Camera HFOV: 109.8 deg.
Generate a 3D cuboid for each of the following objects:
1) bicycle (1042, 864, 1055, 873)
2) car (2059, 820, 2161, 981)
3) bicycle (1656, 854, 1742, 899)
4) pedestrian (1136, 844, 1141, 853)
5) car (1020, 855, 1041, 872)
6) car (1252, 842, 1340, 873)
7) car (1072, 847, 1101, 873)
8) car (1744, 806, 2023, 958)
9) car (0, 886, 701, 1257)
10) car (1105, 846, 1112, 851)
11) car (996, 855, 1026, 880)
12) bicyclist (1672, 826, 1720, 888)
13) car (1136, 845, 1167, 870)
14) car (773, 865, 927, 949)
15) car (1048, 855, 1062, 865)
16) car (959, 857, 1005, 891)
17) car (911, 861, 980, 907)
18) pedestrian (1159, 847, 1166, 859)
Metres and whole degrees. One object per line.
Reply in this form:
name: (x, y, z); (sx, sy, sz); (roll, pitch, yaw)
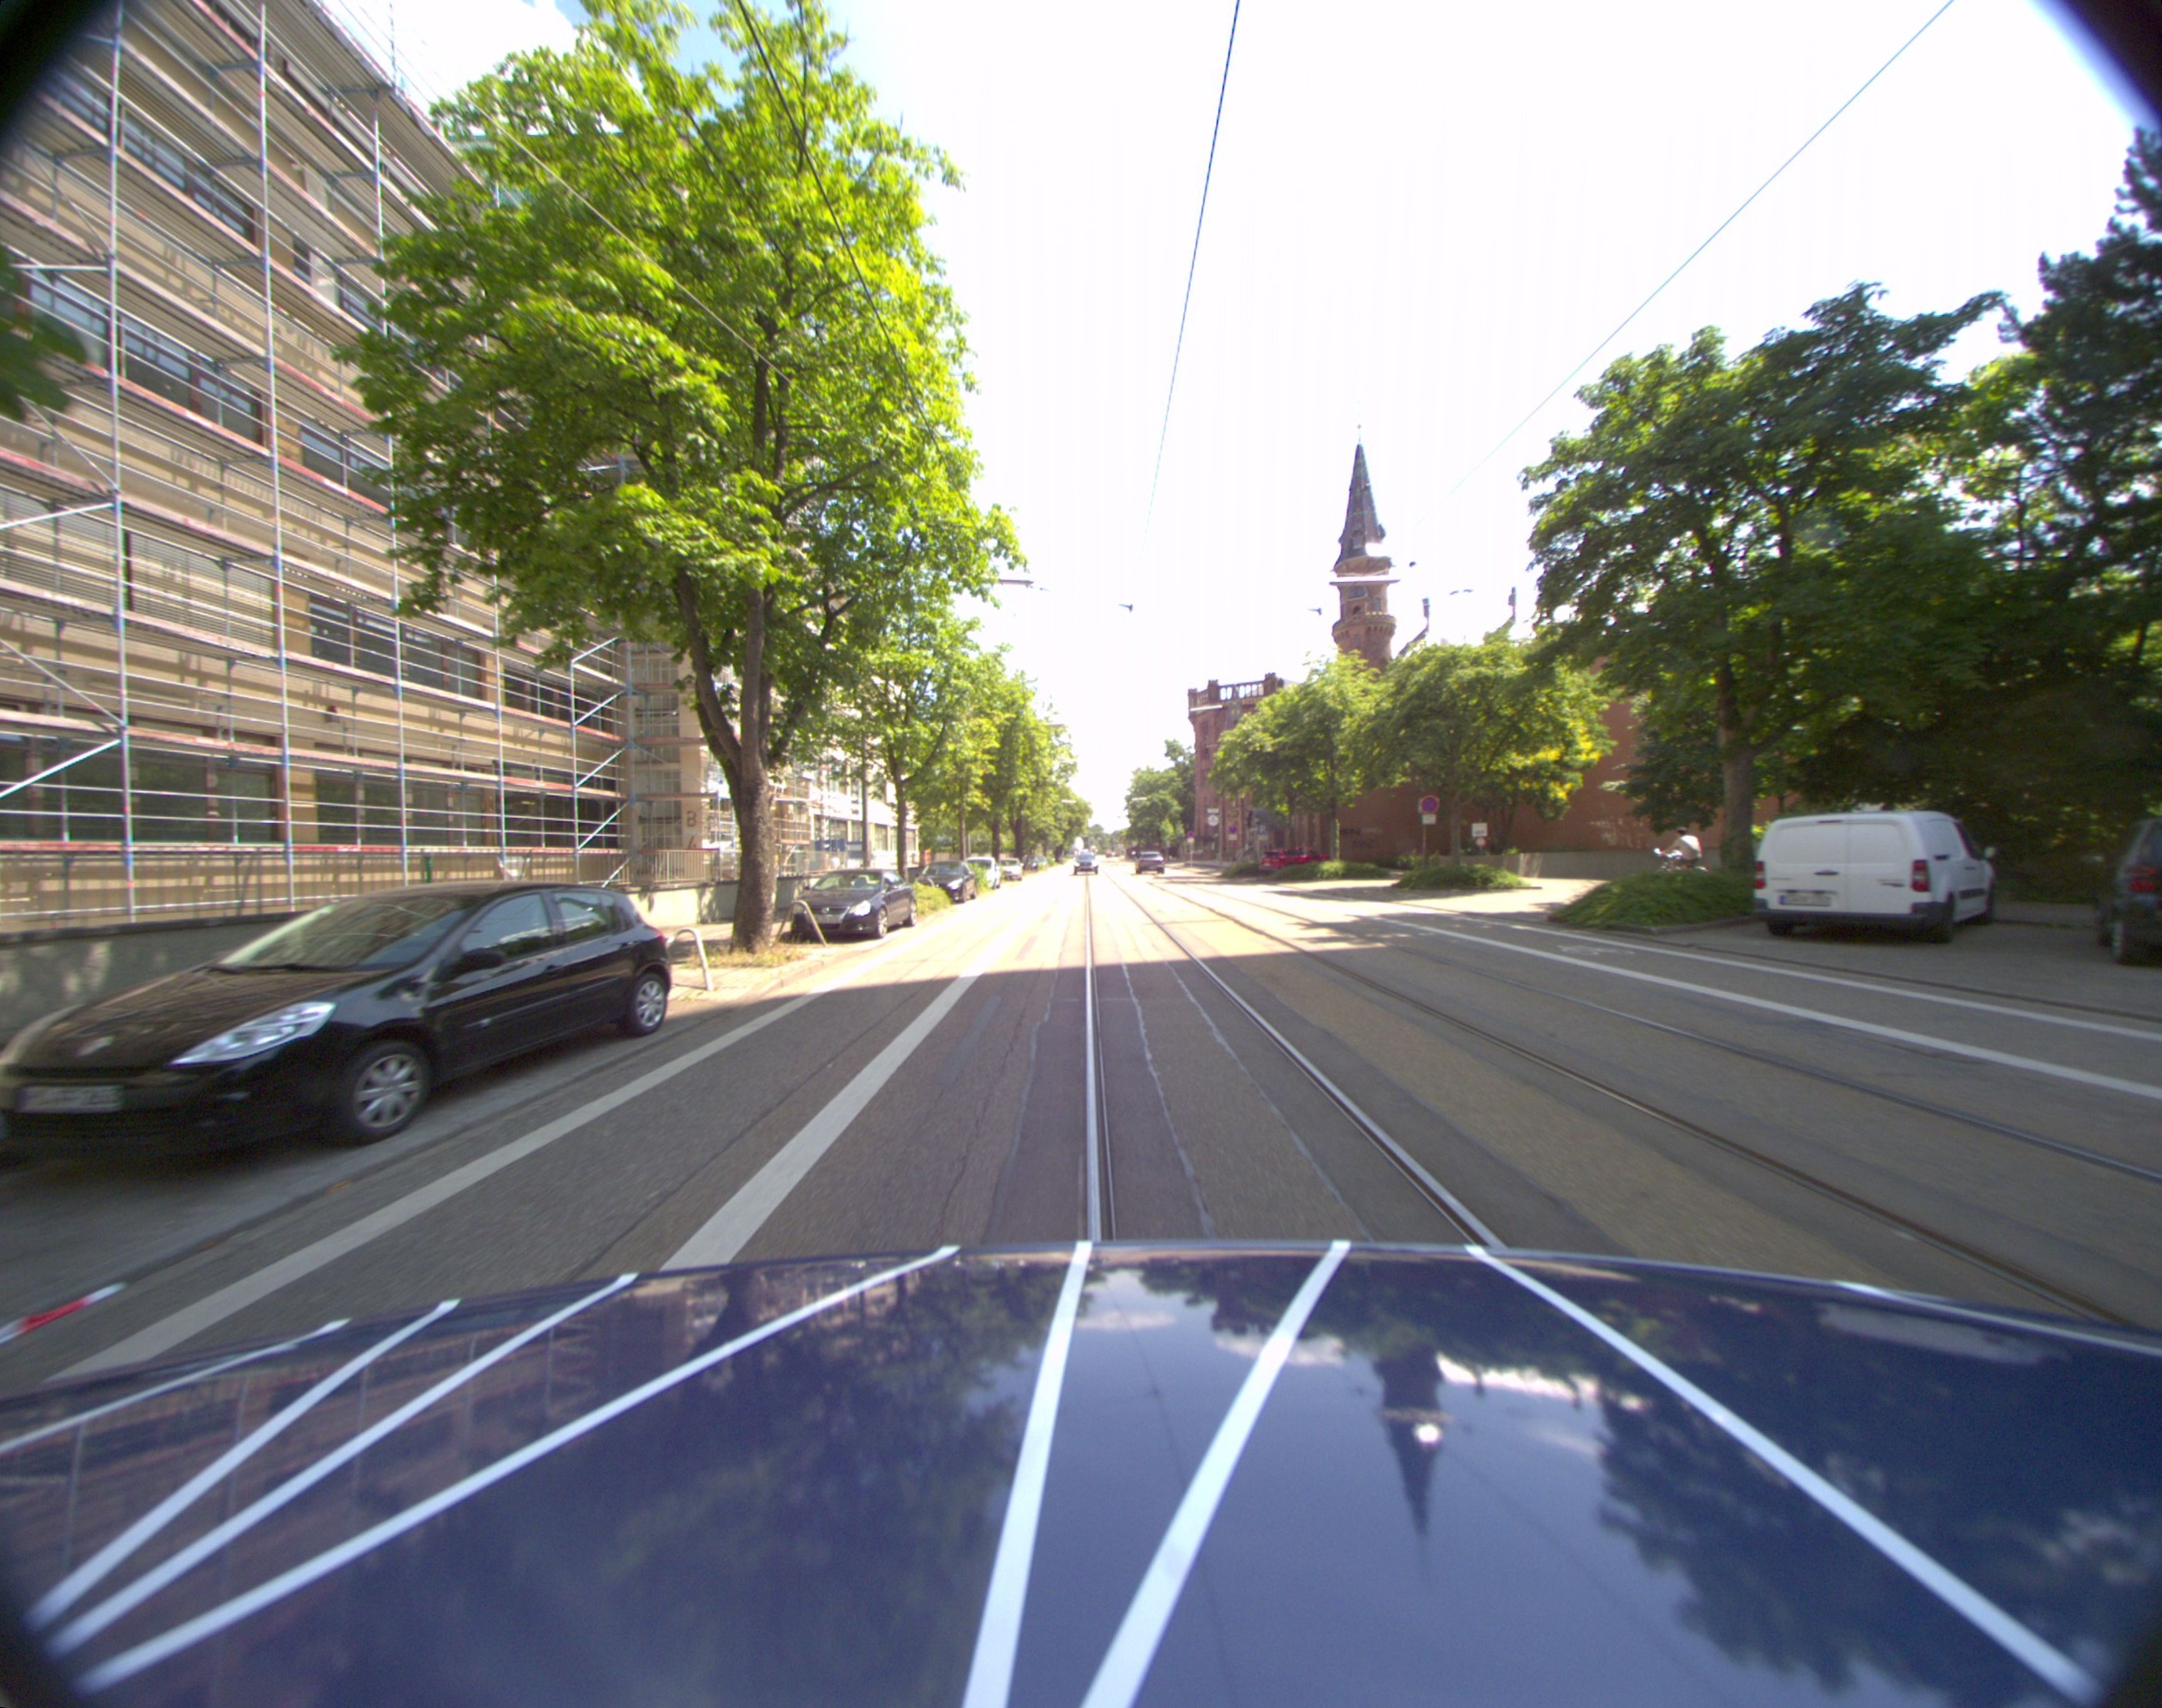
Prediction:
bicycle: (-3.970, 1.762, 92.351); (1.589, 1.054, 0.562); (-2, 1, -1)
car: (12.505, 0.404, 8.438); (3.958, 1.523, 1.768); (-3, 0, -41)
bicycle: (15.234, 0.525, 18.780); (0.519, 1.041, 1.876); (-3, 0, -2)
pedestrian: (11.162, -1.036, 147.887); (0.754, 1.766, 0.919); (-5, 1, 0)
car: (-4.564, 0.834, 68.929); (1.675, 1.481, 3.980); (-2, 0, 0)
car: (12.430, 0.180, 43.904); (4.787, 1.557, 1.997); (-2, 1, -28)
car: (0.414, 0.430, 56.939); (1.998, 1.731, 4.227); (-3, 0, 0)
car: (11.848, 0.281, 11.147); (4.555, 1.781, 1.896); (-3, 0, -32)
car: (-4.949, 1.093, 5.639); (1.828, 1.463, 4.401); (-2, 0, 3)
car: (9.182, -1.856, 254.367); (1.909, 1.778, 4.255); (-1, 0, 0)
car: (-4.508, 0.846, 49.216); (1.676, 1.490, 4.364); (-2, 0, -3)
bicyclist: (15.202, 0.068, 18.800); (0.482, 1.472, 0.780); (-3, 1, -2)
car: (5.048, 0.214, 54.603); (1.835, 1.671, 4.184); (-1, 0, 1)
car: (-4.797, 1.030, 16.521); (1.829, 1.463, 4.486); (-2, 0, 2)
car: (-3.601, 0.834, 105.228); (1.756, 1.263, 3.833); (-3, 0, 1)
car: (-4.710, 0.912, 36.665); (1.675, 1.509, 4.201); (-2, 0, 0)
car: (-4.670, 0.993, 26.725); (1.675, 1.429, 4.041); (-2, 0, 0)
pedestrian: (11.052, -0.117, 102.881); (0.801, 1.579, 0.919); (-5, 0, 0)
